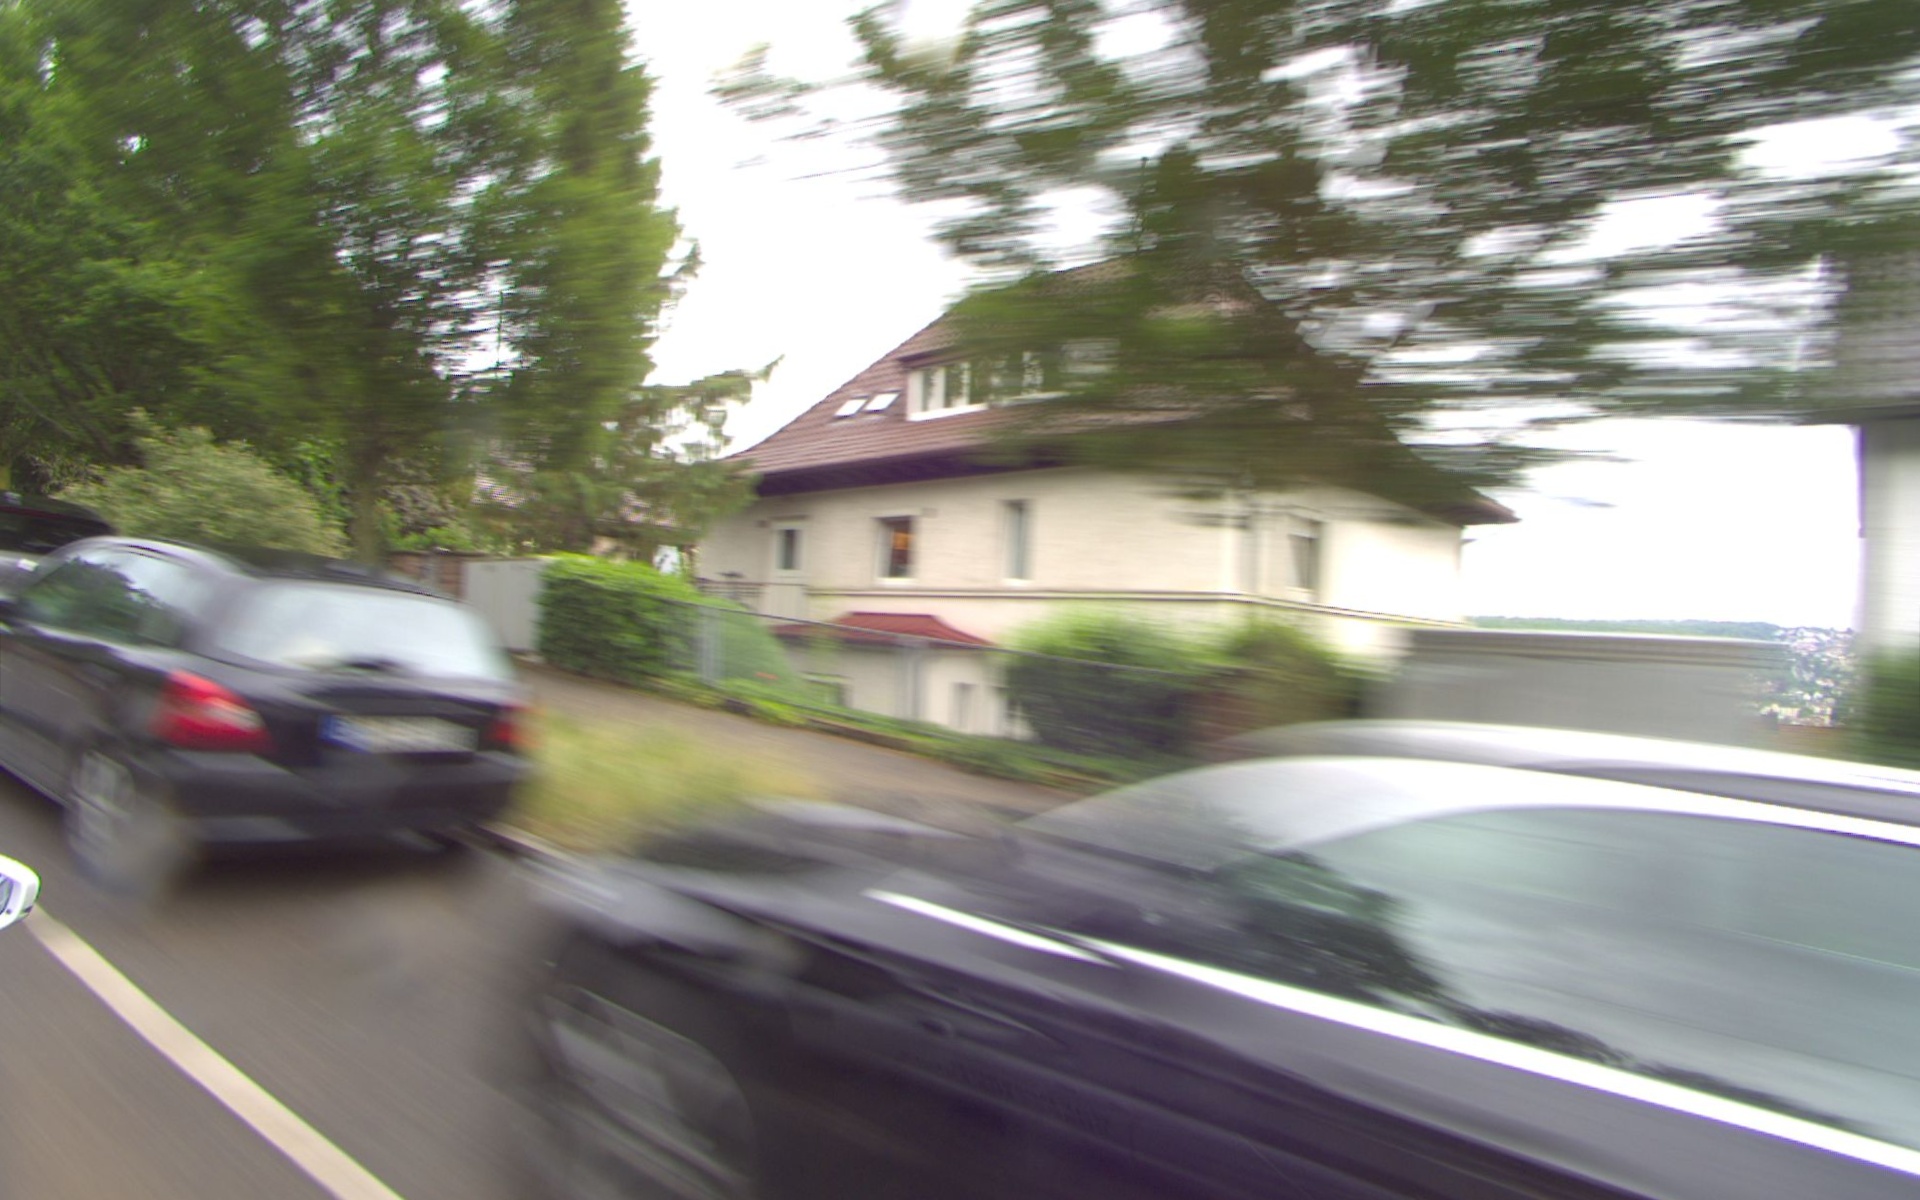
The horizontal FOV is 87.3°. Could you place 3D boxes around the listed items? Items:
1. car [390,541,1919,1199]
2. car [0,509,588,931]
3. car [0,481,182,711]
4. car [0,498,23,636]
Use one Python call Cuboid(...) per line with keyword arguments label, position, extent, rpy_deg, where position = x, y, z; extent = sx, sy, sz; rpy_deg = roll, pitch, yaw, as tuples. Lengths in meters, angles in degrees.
Cuboid(label="car", position=(1.046, 0.928, 2.075), extent=(4.651, 1.570, 1.779), rpy_deg=(6, -3, 33))
Cuboid(label="car", position=(-4.126, 0.392, 5.506), extent=(4.219, 1.440, 1.646), rpy_deg=(6, -3, 34))
Cuboid(label="car", position=(-8.311, -0.200, 8.366), extent=(4.100, 1.573, 1.716), rpy_deg=(6, -3, 37))
Cuboid(label="car", position=(-12.423, -0.596, 11.631), extent=(3.960, 1.499, 1.649), rpy_deg=(6, -2, 38))
